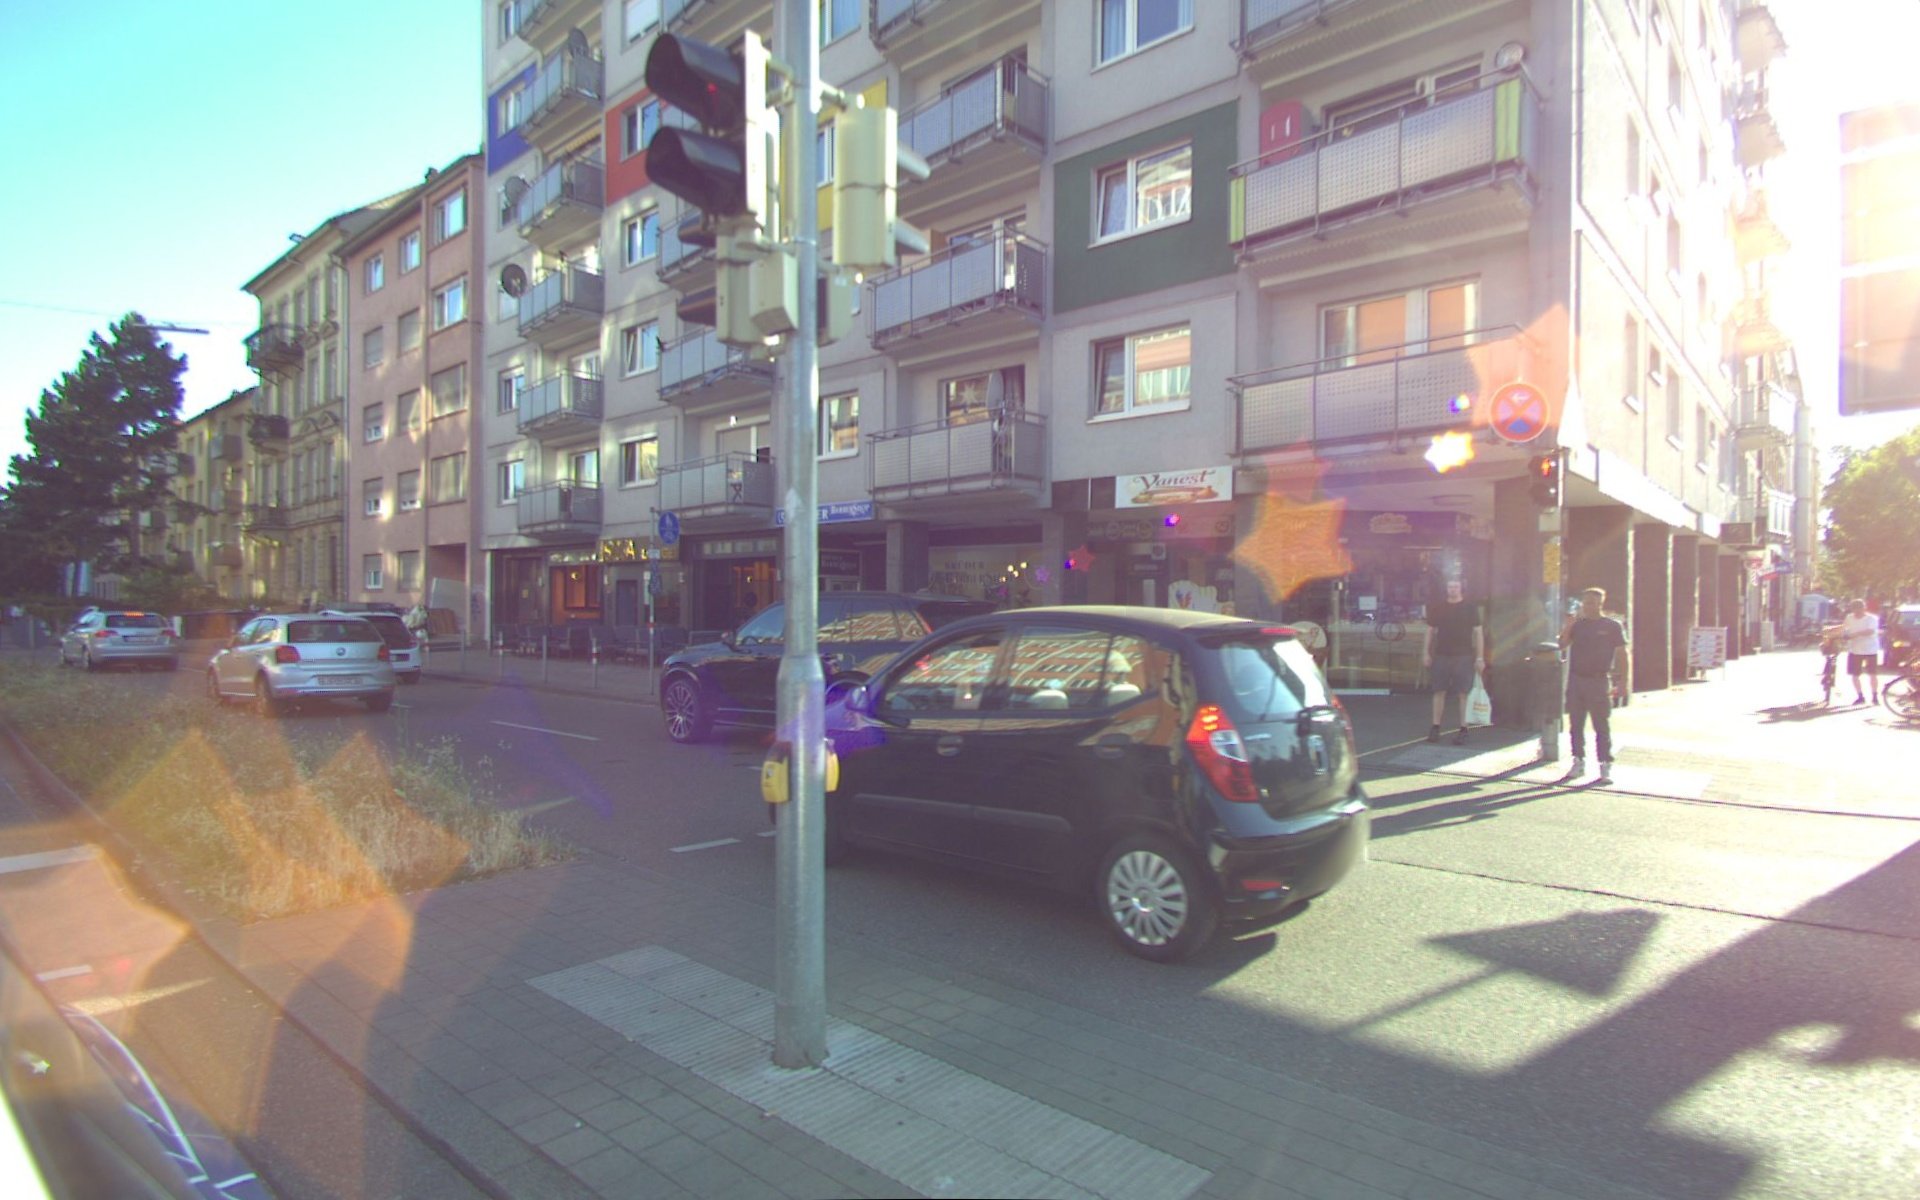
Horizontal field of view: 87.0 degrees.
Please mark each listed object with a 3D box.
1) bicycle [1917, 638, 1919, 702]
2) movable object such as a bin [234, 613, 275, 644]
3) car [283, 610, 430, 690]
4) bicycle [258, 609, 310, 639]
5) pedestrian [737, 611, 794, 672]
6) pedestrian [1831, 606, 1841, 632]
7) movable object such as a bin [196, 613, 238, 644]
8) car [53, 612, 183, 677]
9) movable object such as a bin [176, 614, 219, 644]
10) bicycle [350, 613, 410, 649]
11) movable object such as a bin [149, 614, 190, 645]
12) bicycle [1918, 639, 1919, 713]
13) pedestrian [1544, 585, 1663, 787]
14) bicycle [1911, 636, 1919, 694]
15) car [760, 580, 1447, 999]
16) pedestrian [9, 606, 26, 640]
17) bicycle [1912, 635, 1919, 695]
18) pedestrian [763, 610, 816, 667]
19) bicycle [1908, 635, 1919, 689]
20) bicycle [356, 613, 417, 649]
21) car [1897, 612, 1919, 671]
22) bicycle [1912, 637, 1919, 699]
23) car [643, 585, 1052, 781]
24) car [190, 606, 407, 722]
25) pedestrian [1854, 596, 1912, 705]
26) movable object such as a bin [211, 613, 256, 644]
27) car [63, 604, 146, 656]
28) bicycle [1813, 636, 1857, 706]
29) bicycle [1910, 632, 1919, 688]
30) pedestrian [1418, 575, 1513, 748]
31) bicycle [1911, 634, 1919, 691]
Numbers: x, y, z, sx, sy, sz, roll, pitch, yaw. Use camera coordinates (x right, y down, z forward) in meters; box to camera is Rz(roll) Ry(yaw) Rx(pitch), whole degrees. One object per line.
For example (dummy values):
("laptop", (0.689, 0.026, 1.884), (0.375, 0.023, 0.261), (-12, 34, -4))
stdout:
("bicycle", (17.291, 1.195, 16.598), (2.299, 1.059, 0.726), (0, 0, 42))
("movable object such as a bin", (-28.866, 1.164, 41.446), (0.838, 1.242, 1.192), (0, 0, 2))
("car", (-12.928, 1.021, 21.602), (3.637, 1.556, 1.657), (-1, -2, 42))
("bicycle", (-27.905, 0.968, 41.799), (0.473, 1.200, 1.757), (-1, -1, 40))
("pedestrian", (-4.494, 0.933, 23.383), (0.883, 1.356, 0.961), (-1, -1, 42))
("pedestrian", (58.585, 1.259, 67.669), (0.491, 1.721, 0.542), (0, 0, 42))
("movable object such as a bin", (-30.711, 1.182, 41.843), (0.838, 1.242, 1.192), (0, 0, 2))
("car", (-20.497, 1.042, 24.596), (4.099, 1.436, 1.691), (-1, -2, 40))
("movable object such as a bin", (-31.579, 1.192, 41.931), (0.838, 1.242, 1.192), (0, 0, 2))
("bicycle", (-20.269, 1.064, 35.379), (0.473, 1.200, 1.757), (-1, -1, 40))
("movable object such as a bin", (-32.513, 1.208, 41.630), (0.836, 1.242, 1.195), (0, 0, -6))
("bicycle", (15.067, 1.118, 14.232), (2.299, 1.059, 0.726), (0, 0, 42))
("pedestrian", (6.088, 0.774, 9.581), (0.601, 1.800, 0.813), (-3, 2, -44))
("bicycle", (18.638, 1.209, 18.150), (2.299, 1.059, 0.555), (0, 0, 43))
("car", (0.573, 0.748, 5.552), (3.478, 1.556, 1.560), (-1, -2, 44))
("pedestrian", (-45.149, 1.099, 48.483), (0.481, 1.612, 0.569), (-1, -1, 43))
("bicycle", (18.249, 1.178, 17.713), (2.299, 1.059, 0.555), (0, 0, 43))
("pedestrian", (-4.149, 0.911, 24.684), (0.974, 1.356, 0.870), (-1, -1, 42))
("bicycle", (20.084, 1.251, 19.742), (2.299, 1.059, 0.726), (0, 0, 42))
("bicycle", (-19.743, 1.057, 34.868), (0.473, 1.200, 1.757), (-1, -1, 40))
("car", (26.700, 1.103, 27.430), (1.695, 1.519, 3.946), (0, 0, 40))
("bicycle", (17.798, 1.204, 17.224), (2.299, 1.059, 0.726), (0, 0, 42))
("car", (-1.431, 0.785, 11.228), (4.785, 1.724, 1.796), (-1, -2, 42))
("car", (-10.156, 0.898, 15.454), (3.802, 1.556, 1.659), (-1, -2, 39))
("pedestrian", (15.199, 0.810, 16.682), (0.684, 1.735, 0.602), (-1, 2, 42))
("movable object such as a bin", (-29.794, 1.173, 41.528), (0.917, 1.242, 1.291), (0, 0, 2))
("car", (-27.787, 0.961, 32.861), (2.805, 1.605, 1.520), (-1, -2, 39))
("bicycle", (14.696, 1.154, 16.982), (0.520, 1.100, 2.038), (-1, -2, 42))
("bicycle", (19.560, 1.175, 19.146), (2.299, 1.059, 0.726), (0, 0, 42))
("pedestrian", (5.776, 0.672, 11.567), (0.812, 1.889, 0.602), (-1, 2, 43))
("bicycle", (19.031, 1.183, 18.569), (2.299, 1.059, 0.638), (0, 0, 43))
